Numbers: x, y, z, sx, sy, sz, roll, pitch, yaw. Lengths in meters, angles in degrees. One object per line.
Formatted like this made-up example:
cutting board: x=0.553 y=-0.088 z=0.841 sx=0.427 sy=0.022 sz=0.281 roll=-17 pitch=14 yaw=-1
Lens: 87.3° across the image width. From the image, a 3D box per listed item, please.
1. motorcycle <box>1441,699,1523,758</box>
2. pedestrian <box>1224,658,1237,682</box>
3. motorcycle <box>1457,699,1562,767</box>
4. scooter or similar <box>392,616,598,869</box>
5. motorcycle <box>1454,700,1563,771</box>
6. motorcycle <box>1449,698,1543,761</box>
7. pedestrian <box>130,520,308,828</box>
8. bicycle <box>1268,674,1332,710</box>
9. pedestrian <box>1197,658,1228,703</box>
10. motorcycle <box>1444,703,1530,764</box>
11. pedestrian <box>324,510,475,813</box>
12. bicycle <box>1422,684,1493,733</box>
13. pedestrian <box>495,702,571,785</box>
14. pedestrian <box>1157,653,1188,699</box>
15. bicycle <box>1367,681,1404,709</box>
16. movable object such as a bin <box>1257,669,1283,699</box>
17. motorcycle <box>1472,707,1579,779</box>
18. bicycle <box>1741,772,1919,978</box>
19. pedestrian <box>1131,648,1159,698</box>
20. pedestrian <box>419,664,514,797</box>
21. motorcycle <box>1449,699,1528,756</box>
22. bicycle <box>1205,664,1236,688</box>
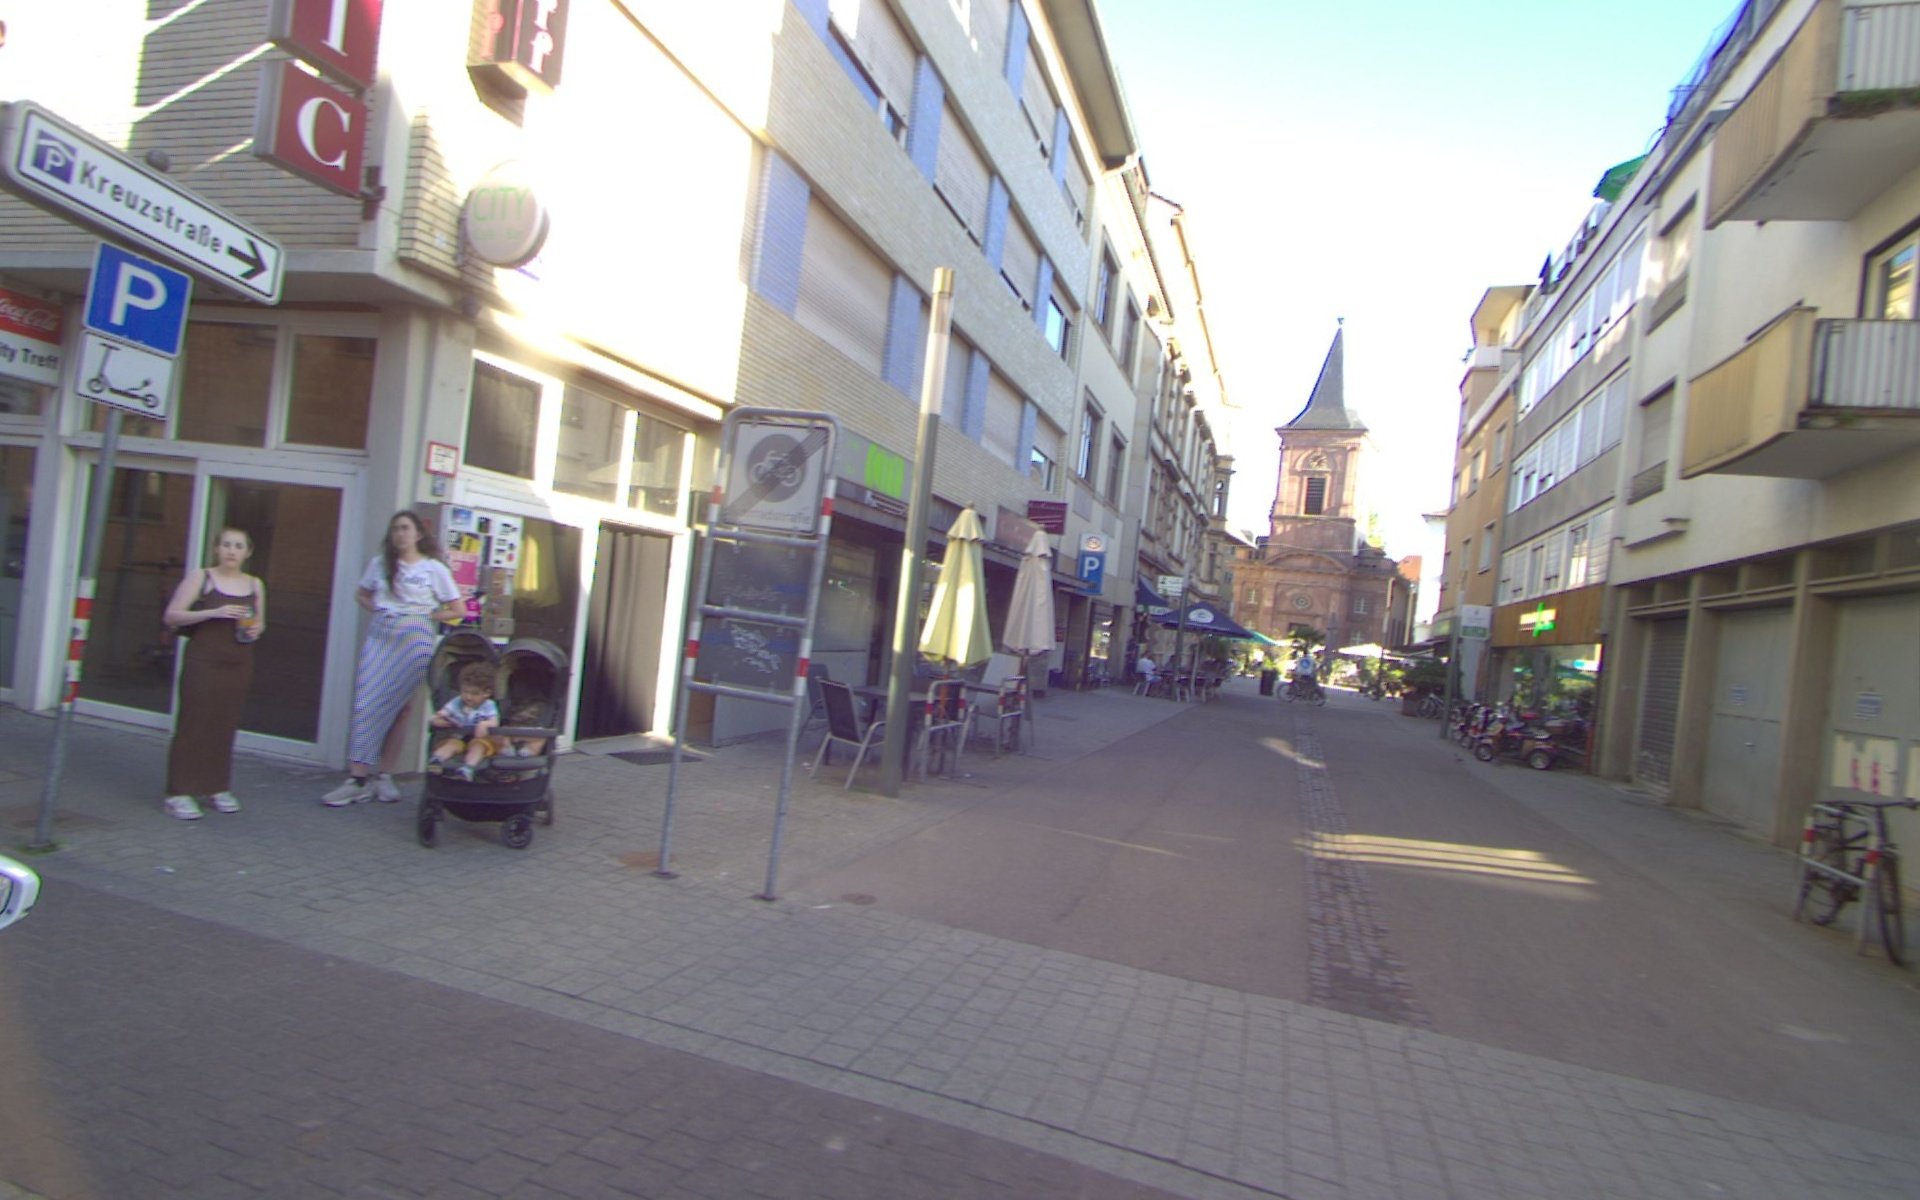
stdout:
motorcycle: x=12.996 y=3.176 z=25.073 sx=1.661 sy=1.188 sz=0.513 roll=7 pitch=0 yaw=24
pedestrian: x=17.329 y=4.472 z=64.490 sx=0.617 sy=1.468 sz=0.798 roll=6 pitch=0 yaw=11
motorcycle: x=12.199 y=2.939 z=22.378 sx=0.539 sy=1.188 sz=1.890 roll=7 pitch=-1 yaw=-39
scooter or similar: x=-2.654 y=0.774 z=5.698 sx=0.862 sy=1.191 sz=1.036 roll=7 pitch=1 yaw=-29
motorcycle: x=11.760 y=2.895 z=21.624 sx=0.623 sy=1.188 sz=1.884 roll=7 pitch=-1 yaw=-32
motorcycle: x=12.446 y=2.990 z=23.378 sx=1.757 sy=1.188 sz=0.553 roll=7 pitch=0 yaw=38
pedestrian: x=-4.044 y=0.385 z=5.502 sx=0.433 sy=1.561 sz=0.573 roll=7 pitch=3 yaw=26
bicycle: x=12.853 y=3.457 z=38.026 sx=2.128 sy=0.995 sz=0.816 roll=8 pitch=0 yaw=22
pedestrian: x=8.238 y=2.613 z=32.804 sx=0.750 sy=1.372 sz=0.551 roll=6 pitch=0 yaw=22
motorcycle: x=12.663 y=3.196 z=24.216 sx=1.661 sy=1.188 sz=0.596 roll=7 pitch=0 yaw=23
pedestrian: x=-3.457 y=0.378 z=6.238 sx=0.619 sy=1.757 sz=0.618 roll=6 pitch=0 yaw=-28
bicycle: x=17.655 y=3.846 z=35.730 sx=2.101 sy=1.361 sz=0.591 roll=6 pitch=-9 yaw=23
pedestrian: x=-2.424 y=0.812 z=5.730 sx=0.327 sy=0.403 sz=0.311 roll=7 pitch=0 yaw=-16
pedestrian: x=6.737 y=2.414 z=31.922 sx=0.750 sy=1.372 sz=0.551 roll=6 pitch=0 yaw=22
bicycle: x=20.470 y=4.549 z=48.356 sx=1.798 sy=1.168 sz=0.407 roll=7 pitch=0 yaw=-24
movable object such as a bin: x=12.870 y=3.477 z=41.740 sx=0.888 sy=1.137 sz=0.780 roll=6 pitch=0 yaw=16
motorcycle: x=11.534 y=2.893 z=20.554 sx=1.677 sy=1.168 sz=0.789 roll=6 pitch=-1 yaw=41
bicycle: x=6.635 y=1.984 z=7.525 sx=0.669 sy=1.140 sz=1.894 roll=6 pitch=-2 yaw=22
pedestrian: x=5.423 y=2.121 z=29.448 sx=0.653 sy=1.372 sz=0.551 roll=6 pitch=0 yaw=13
pedestrian: x=-2.707 y=0.708 z=5.548 sx=0.327 sy=0.640 sz=0.507 roll=7 pitch=0 yaw=-16
motorcycle: x=13.605 y=3.272 z=25.889 sx=1.663 sy=1.188 sz=0.512 roll=7 pitch=0 yaw=31
bicycle: x=13.070 y=3.789 z=50.439 sx=0.504 sy=1.015 sz=1.382 roll=7 pitch=-1 yaw=-42
